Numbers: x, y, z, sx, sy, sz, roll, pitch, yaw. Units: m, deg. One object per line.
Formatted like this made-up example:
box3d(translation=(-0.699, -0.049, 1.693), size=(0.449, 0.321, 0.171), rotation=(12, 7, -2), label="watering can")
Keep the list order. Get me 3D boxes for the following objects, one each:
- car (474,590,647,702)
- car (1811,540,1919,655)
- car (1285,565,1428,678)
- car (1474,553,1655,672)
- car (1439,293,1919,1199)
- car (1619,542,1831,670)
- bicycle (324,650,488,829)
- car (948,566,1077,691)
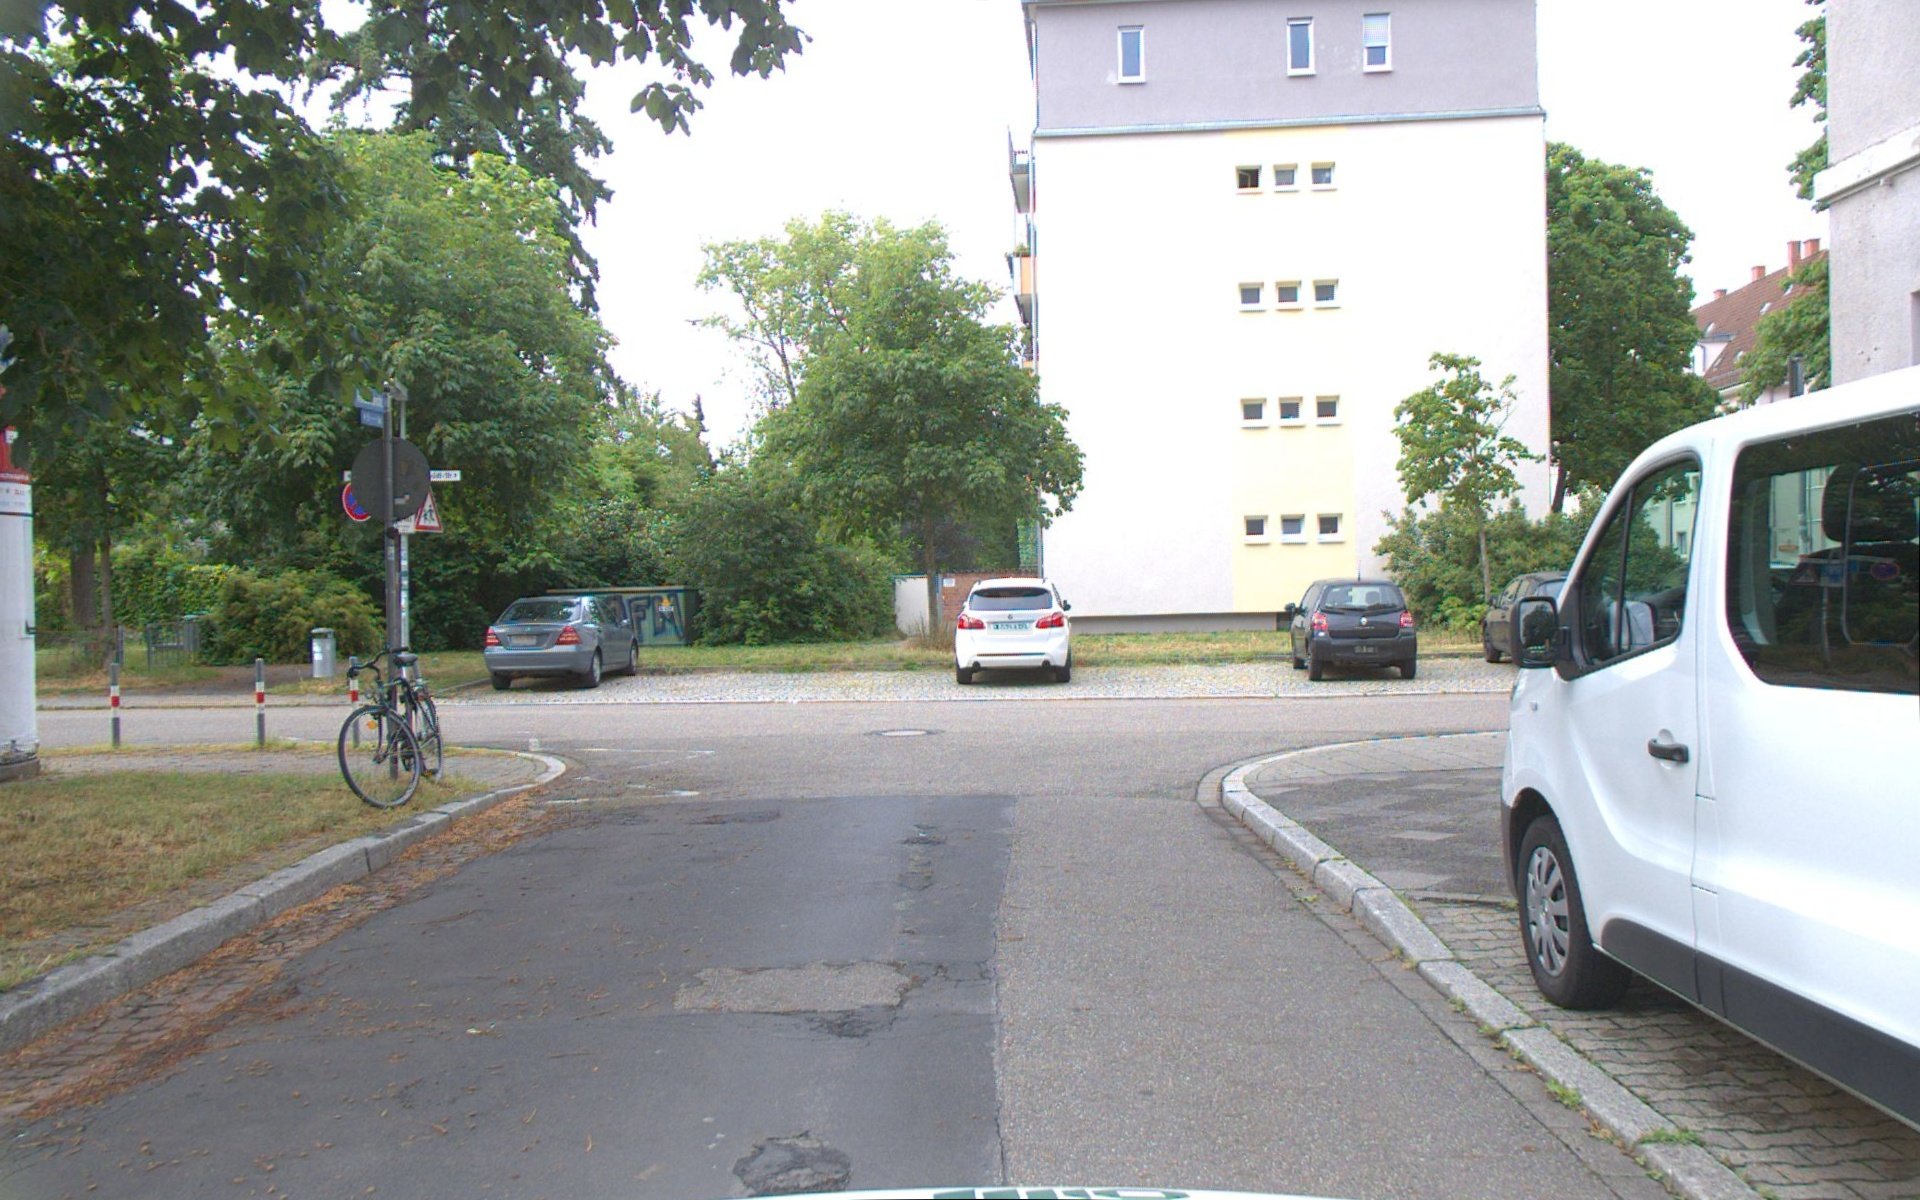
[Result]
box3d(translation=(-6.458, 0.677, 27.221), size=(1.640, 1.479, 4.561), rotation=(-2, 2, 1), label="car")
box3d(translation=(14.759, -0.104, 25.364), size=(1.786, 1.605, 3.846), rotation=(-2, 1, 8), label="car")
box3d(translation=(6.200, 0.269, 26.305), size=(1.796, 1.489, 4.565), rotation=(-1, 2, 9), label="car")
box3d(translation=(9.313, 0.127, 25.830), size=(1.796, 1.593, 4.362), rotation=(-1, 2, 9), label="car")
box3d(translation=(2.925, 0.310, 4.282), size=(1.840, 2.030, 5.013), rotation=(-3, 2, 0), label="car")
box3d(translation=(11.626, 0.014, 25.431), size=(1.869, 1.726, 4.073), rotation=(-1, 2, 9), label="car")
box3d(translation=(-3.815, 0.918, 11.551), size=(0.500, 1.002, 2.182), rotation=(0, 2, -2), label="bicycle")
box3d(translation=(0.927, 0.383, 26.600), size=(1.839, 1.587, 4.154), rotation=(0, 5, 5), label="car")
